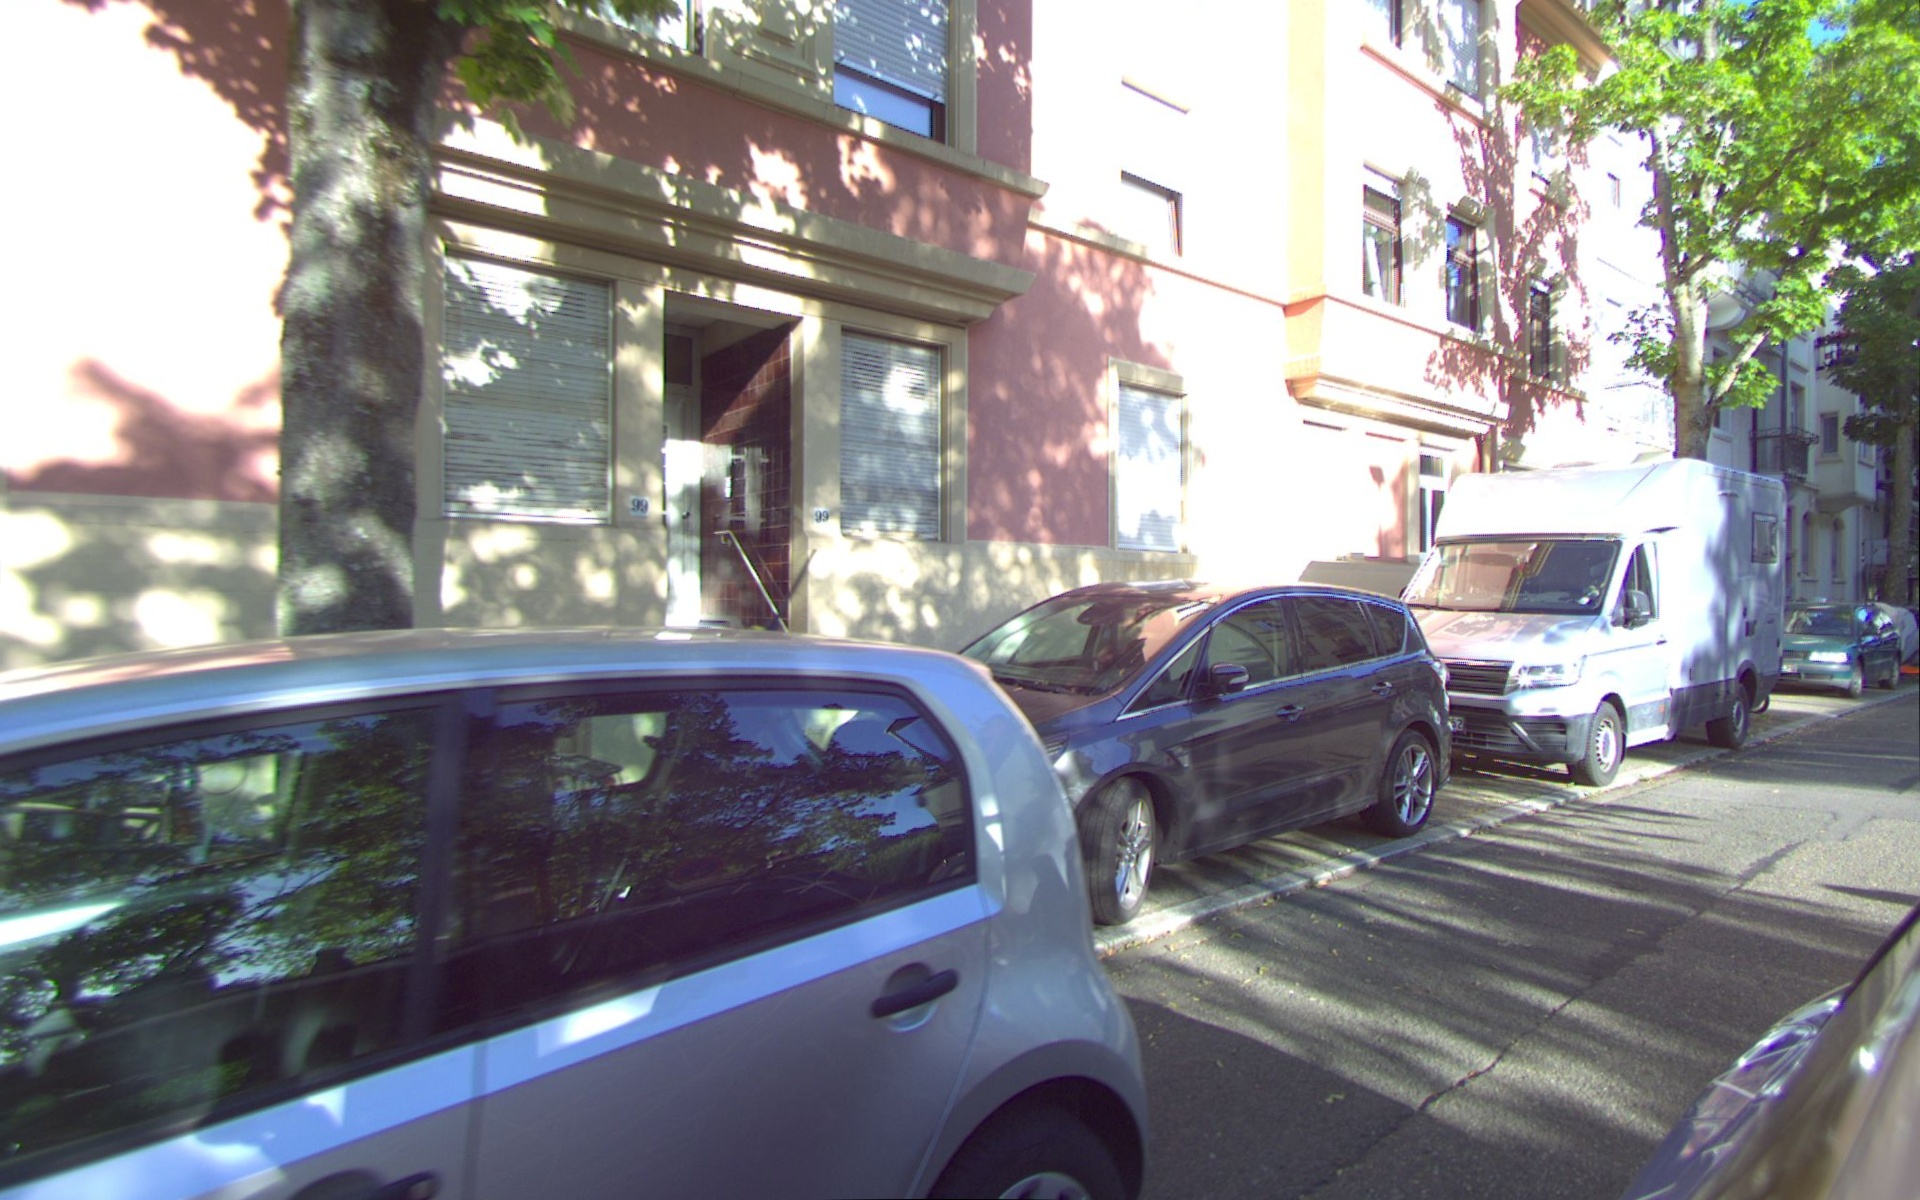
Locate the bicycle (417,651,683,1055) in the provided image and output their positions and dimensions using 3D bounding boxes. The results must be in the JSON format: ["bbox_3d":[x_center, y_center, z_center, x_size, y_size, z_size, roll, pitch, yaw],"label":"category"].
[{"bbox_3d":[-1.810,0.897,4.287,0.559,1.181,1.816,0,3,-38],"label":"bicycle"}]

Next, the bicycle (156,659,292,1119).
[{"bbox_3d":[-2.330,0.781,3.181,0.293,1.089,1.204,0,1,-38],"label":"bicycle"}]

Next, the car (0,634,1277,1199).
[{"bbox_3d":[-1.301,0.902,1.631,3.731,1.564,1.682,0,0,-39],"label":"car"}]

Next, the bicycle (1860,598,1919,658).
[{"bbox_3d":[21.412,0.629,22.689,0.576,1.321,1.763,0,0,-39],"label":"bicycle"}]

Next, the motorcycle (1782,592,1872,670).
[{"bbox_3d":[16.826,0.574,19.627,2.192,1.434,0.864,0,0,-37],"label":"motorcycle"}]

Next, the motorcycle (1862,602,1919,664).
[{"bbox_3d":[19.914,0.669,20.920,1.738,1.256,0.699,0,0,14],"label":"motorcycle"}]

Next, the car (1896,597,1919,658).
[{"bbox_3d":[24.603,0.667,24.865,4.349,1.439,1.684,0,2,-39],"label":"car"}]

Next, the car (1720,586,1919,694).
[{"bbox_3d":[14.542,0.566,16.873,4.692,1.548,1.756,0,2,-37],"label":"car"}]

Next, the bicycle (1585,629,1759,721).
[{"bbox_3d":[8.919,0.905,12.725,0.695,1.012,1.704,0,0,-43],"label":"bicycle"}]

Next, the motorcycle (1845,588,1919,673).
[{"bbox_3d":[17.418,0.529,18.888,2.098,1.505,0.932,0,0,-37],"label":"motorcycle"}]

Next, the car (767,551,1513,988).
[{"bbox_3d":[1.420,0.647,6.303,4.856,1.737,1.889,0,1,-40],"label":"car"}]

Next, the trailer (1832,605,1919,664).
[{"bbox_3d":[18.802,0.672,20.179,2.076,1.126,1.100,0,0,39],"label":"trailer"}]

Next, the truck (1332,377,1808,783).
[{"bbox_3d":[6.380,-0.204,10.183,5.999,3.005,2.079,0,3,-39],"label":"truck"}]

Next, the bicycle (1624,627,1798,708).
[{"bbox_3d":[10.037,0.870,13.590,0.568,0.961,1.791,0,0,-36],"label":"bicycle"}]

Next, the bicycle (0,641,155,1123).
[{"bbox_3d":[-2.773,0.753,3.203,0.322,1.154,1.311,0,2,-37],"label":"bicycle"}]
